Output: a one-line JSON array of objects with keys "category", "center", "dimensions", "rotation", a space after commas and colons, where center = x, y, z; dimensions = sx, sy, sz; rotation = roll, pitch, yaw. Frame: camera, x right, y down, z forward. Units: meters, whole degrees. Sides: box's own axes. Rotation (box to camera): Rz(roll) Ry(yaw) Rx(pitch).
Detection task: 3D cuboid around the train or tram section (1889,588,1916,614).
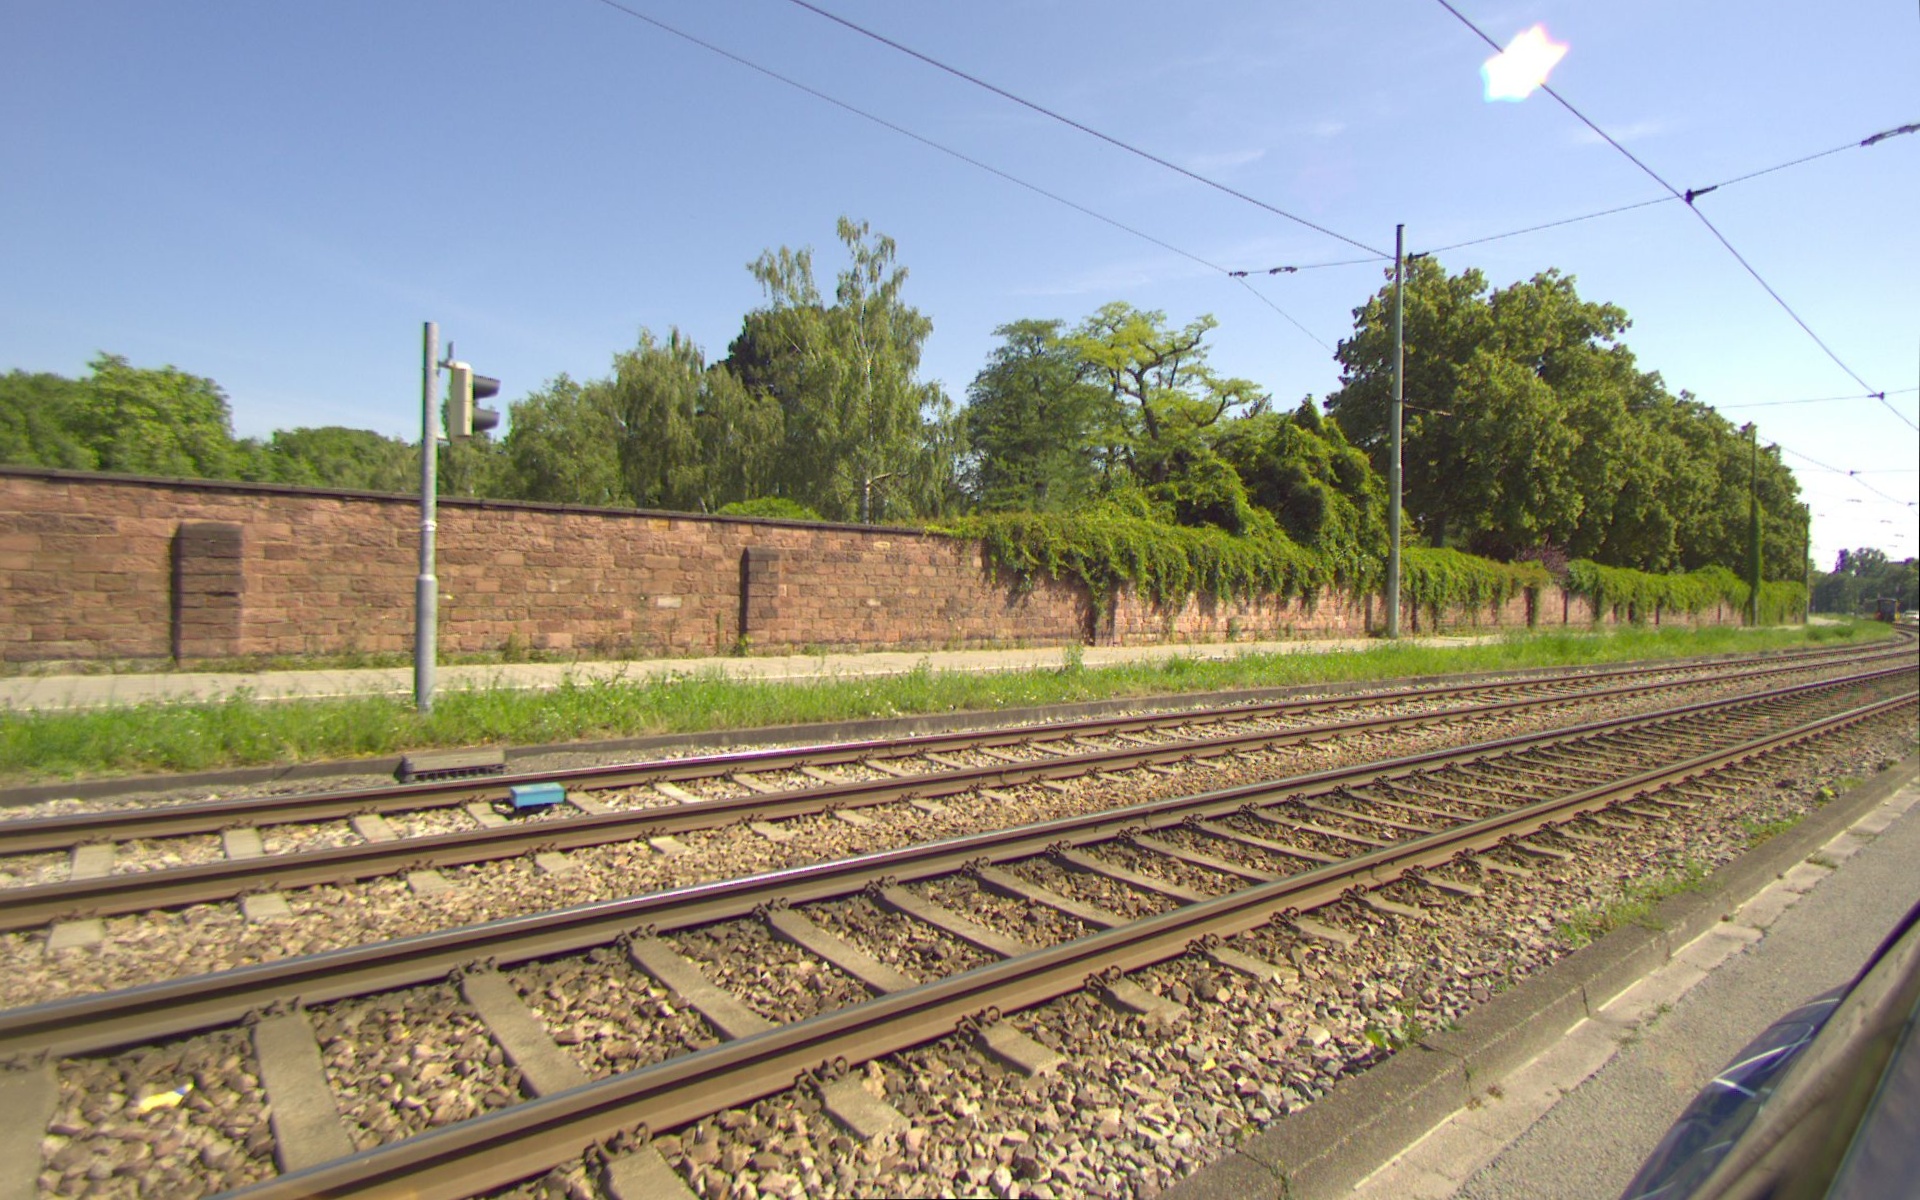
[{"category": "train or tram section", "center": [142.329, 0.204, 152.733], "dimensions": [2.714, 3.785, 18.578], "rotation": [0, 0, 44]}]
